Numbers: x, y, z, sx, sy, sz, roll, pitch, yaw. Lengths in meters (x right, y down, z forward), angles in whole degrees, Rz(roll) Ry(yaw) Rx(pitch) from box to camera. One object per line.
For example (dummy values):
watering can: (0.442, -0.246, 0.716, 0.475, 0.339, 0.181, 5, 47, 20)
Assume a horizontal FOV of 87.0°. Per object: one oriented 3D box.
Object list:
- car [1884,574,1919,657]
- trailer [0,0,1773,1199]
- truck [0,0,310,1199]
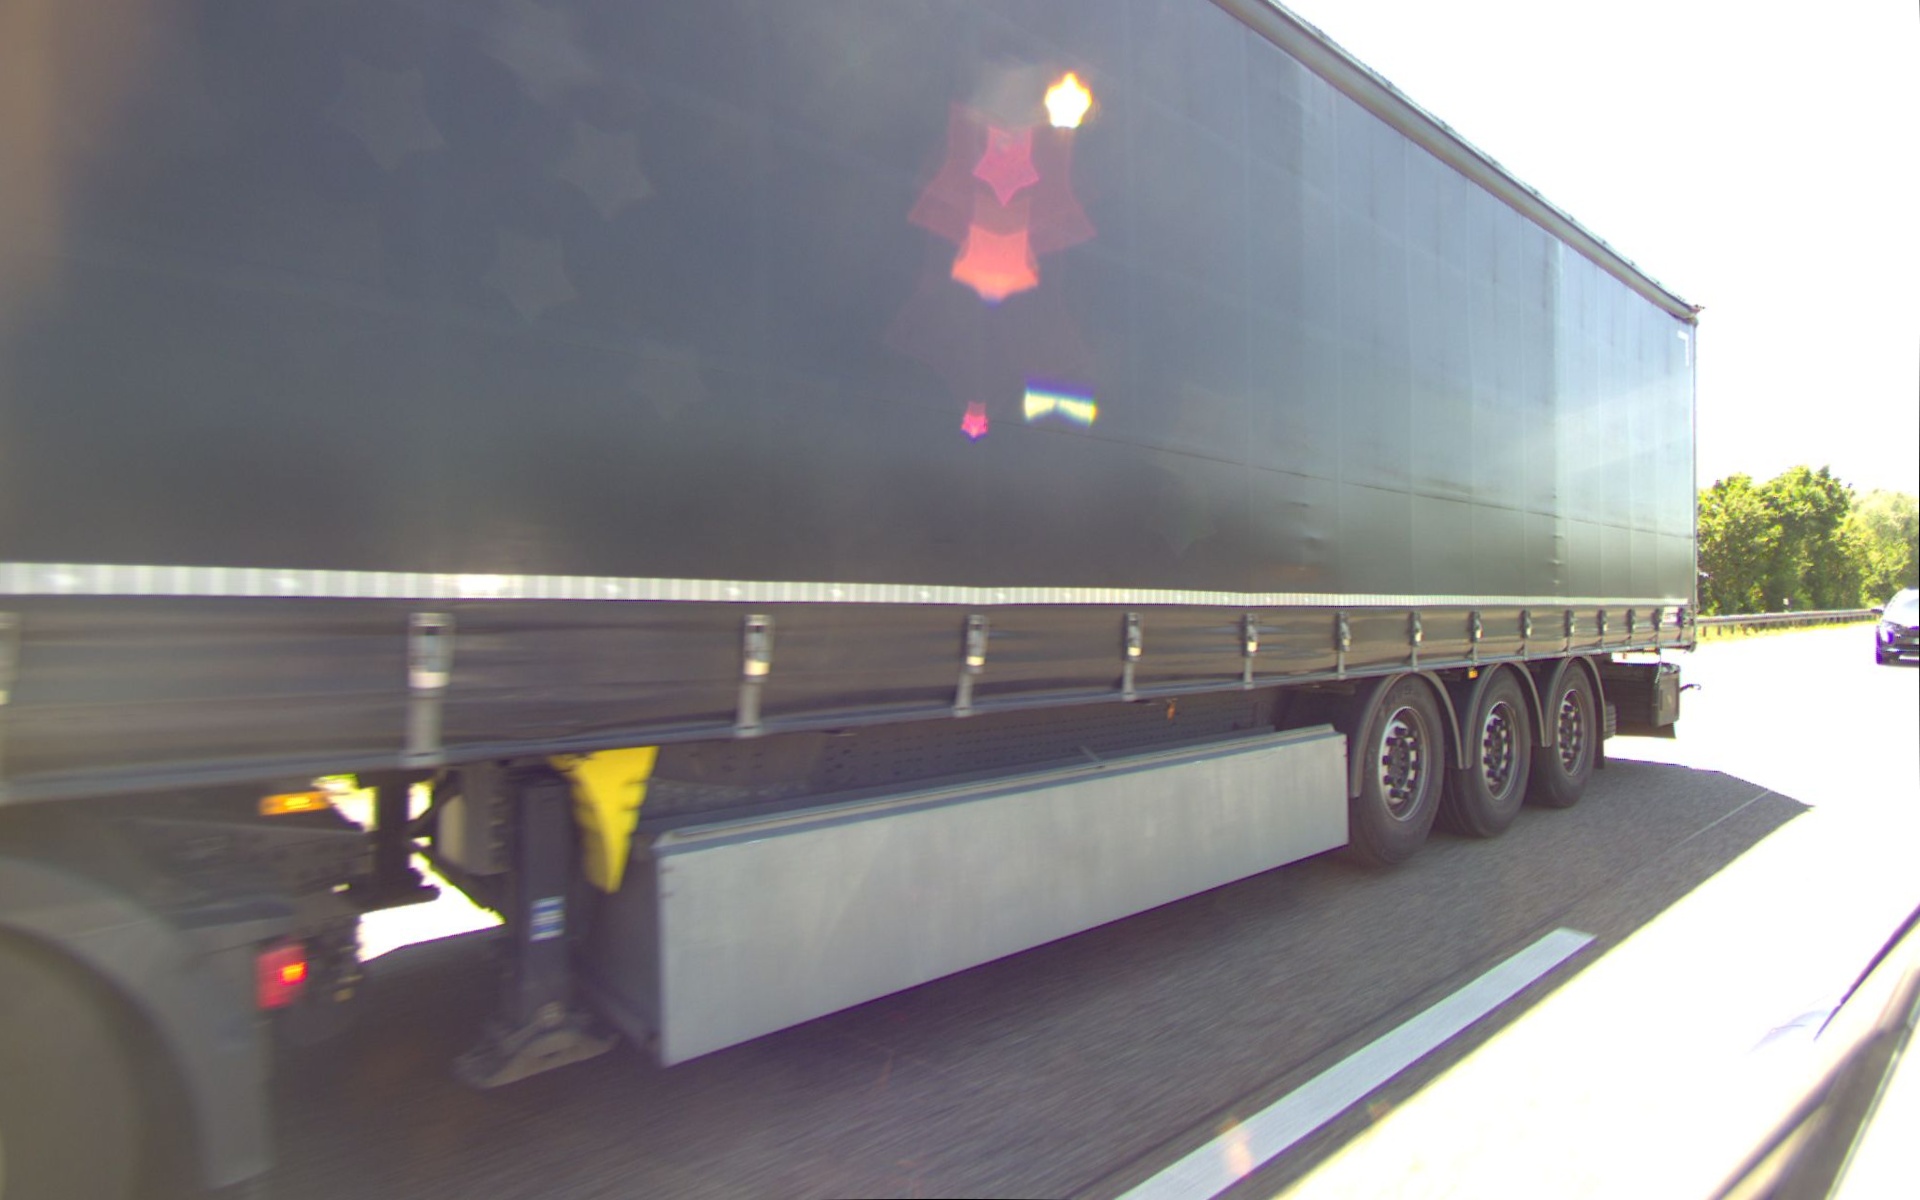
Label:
car: (21.614, 0.316, 22.011, 3.930, 1.727, 1.795, 0, 1, -41)
trailer: (1.999, -0.677, 6.382, 13.302, 4.004, 2.557, 0, 1, -41)
truck: (-4.450, -0.617, 0.766, 6.400, 4.004, 2.557, 0, 1, -41)
